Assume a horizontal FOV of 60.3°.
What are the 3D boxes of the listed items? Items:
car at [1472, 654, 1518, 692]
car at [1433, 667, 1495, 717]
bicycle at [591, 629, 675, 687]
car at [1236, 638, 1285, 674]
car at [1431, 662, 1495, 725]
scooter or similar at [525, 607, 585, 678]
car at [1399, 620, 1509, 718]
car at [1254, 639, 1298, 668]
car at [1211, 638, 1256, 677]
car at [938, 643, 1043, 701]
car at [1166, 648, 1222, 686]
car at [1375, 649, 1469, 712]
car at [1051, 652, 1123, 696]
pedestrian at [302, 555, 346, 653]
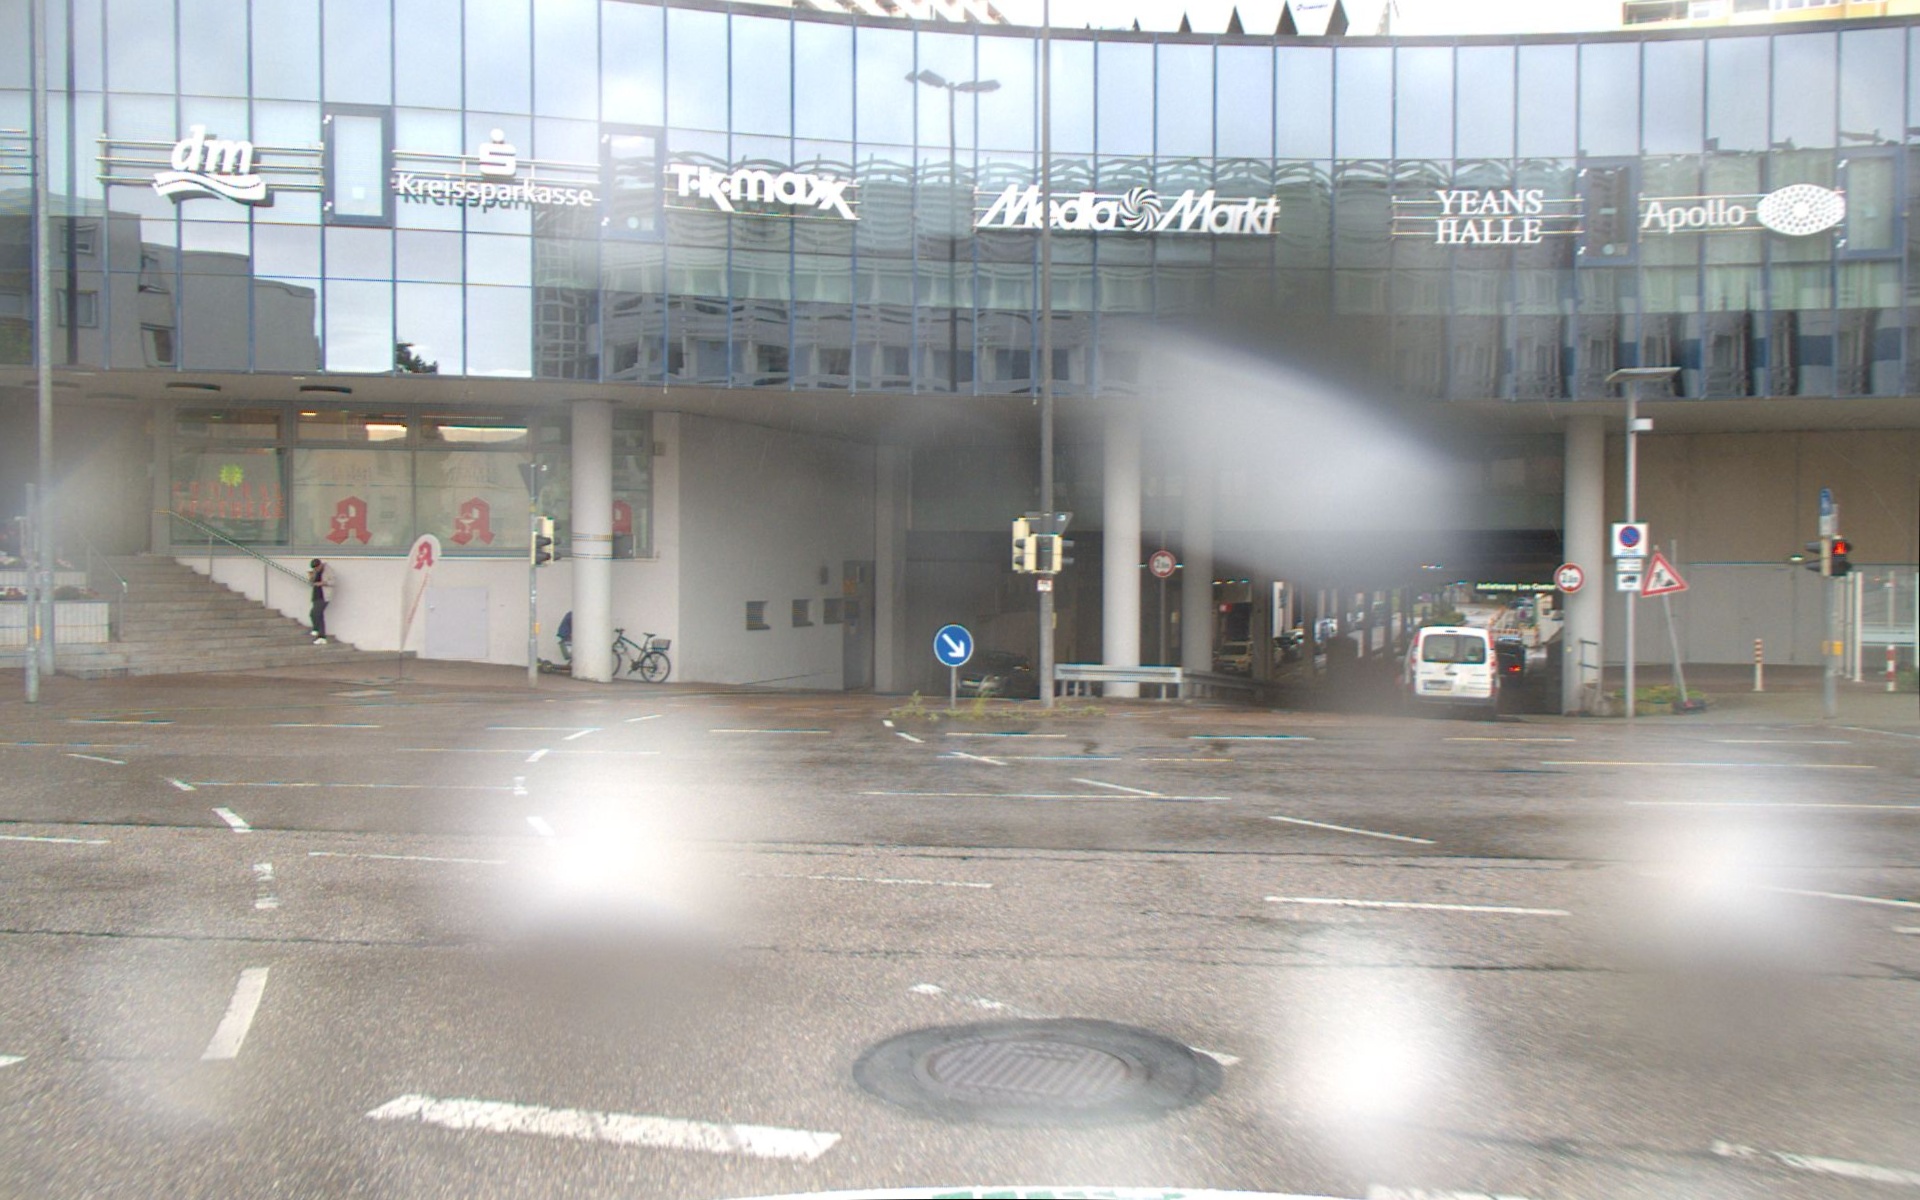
[{"bbox_3d":[24.324,3.303,75.268,1.848,1.517,3.843,2,0,16],"label":"car"},{"bbox_3d":[15.450,2.788,50.609,1.742,1.425,4.001,0,-2,18],"label":"car"},{"bbox_3d":[-6.810,1.212,34.469,1.564,1.035,0.448,7,-2,-28],"label":"bicycle"},{"bbox_3d":[15.856,2.930,87.122,1.952,1.692,4.002,2,0,18],"label":"car"},{"bbox_3d":[13.879,2.573,45.553,1.598,1.640,4.263,0,-3,18],"label":"car"},{"bbox_3d":[-8.339,0.875,34.080,1.146,1.397,0.488,2,0,-12],"label":"scooter or similar"},{"bbox_3d":[9.947,1.348,33.559,1.885,1.829,4.299,0,-1,13],"label":"car"},{"bbox_3d":[18.020,3.034,94.214,1.952,1.489,4.002,0,0,18],"label":"car"},{"bbox_3d":[13.400,2.783,80.911,1.797,1.758,4.003,1,0,14],"label":"car"},{"bbox_3d":[0.941,2.123,48.005,1.853,1.495,4.027,1,-4,19],"label":"car"},{"bbox_3d":[10.813,3.075,76.308,1.874,1.615,3.940,0,0,18],"label":"car"},{"bbox_3d":[11.536,2.011,41.147,1.722,1.490,3.940,0,-3,24],"label":"car"},{"bbox_3d":[4.622,2.656,59.718,1.733,1.489,3.877,0,-2,18],"label":"car"},{"bbox_3d":[-12.808,0.079,33.318,0.643,1.941,0.594,1,0,-5],"label":"pedestrian"}]
